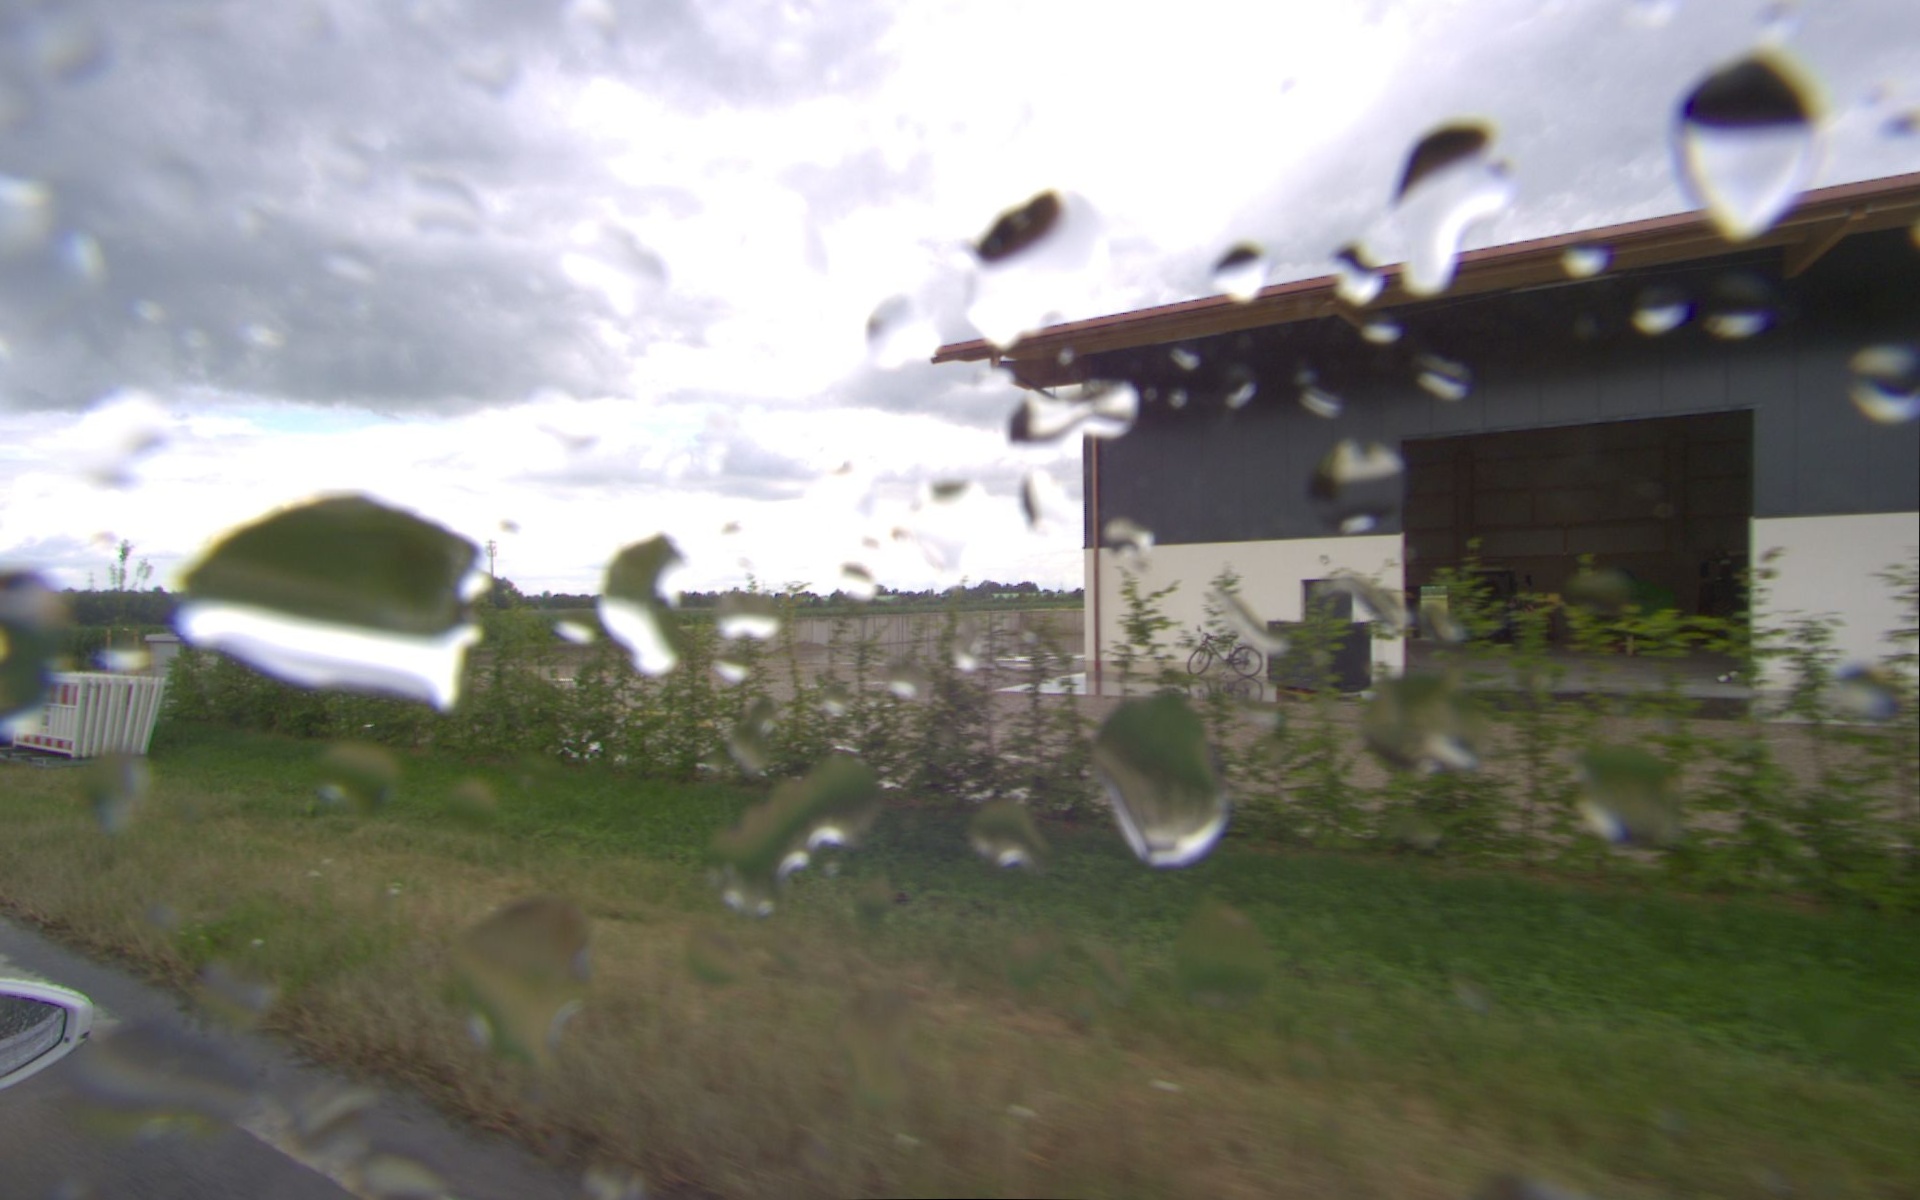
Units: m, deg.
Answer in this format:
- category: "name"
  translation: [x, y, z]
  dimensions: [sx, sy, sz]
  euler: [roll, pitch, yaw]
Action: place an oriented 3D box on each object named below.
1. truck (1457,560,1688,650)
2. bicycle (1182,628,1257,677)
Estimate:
- category: "truck"
  translation: [19.282, 0.196, 31.789]
  dimensions: [6.069, 2.642, 2.112]
  euler: [-1, 0, 33]
- category: "bicycle"
  translation: [5.977, 1.190, 23.092]
  dimensions: [1.637, 1.086, 0.389]
  euler: [-1, 1, 33]
